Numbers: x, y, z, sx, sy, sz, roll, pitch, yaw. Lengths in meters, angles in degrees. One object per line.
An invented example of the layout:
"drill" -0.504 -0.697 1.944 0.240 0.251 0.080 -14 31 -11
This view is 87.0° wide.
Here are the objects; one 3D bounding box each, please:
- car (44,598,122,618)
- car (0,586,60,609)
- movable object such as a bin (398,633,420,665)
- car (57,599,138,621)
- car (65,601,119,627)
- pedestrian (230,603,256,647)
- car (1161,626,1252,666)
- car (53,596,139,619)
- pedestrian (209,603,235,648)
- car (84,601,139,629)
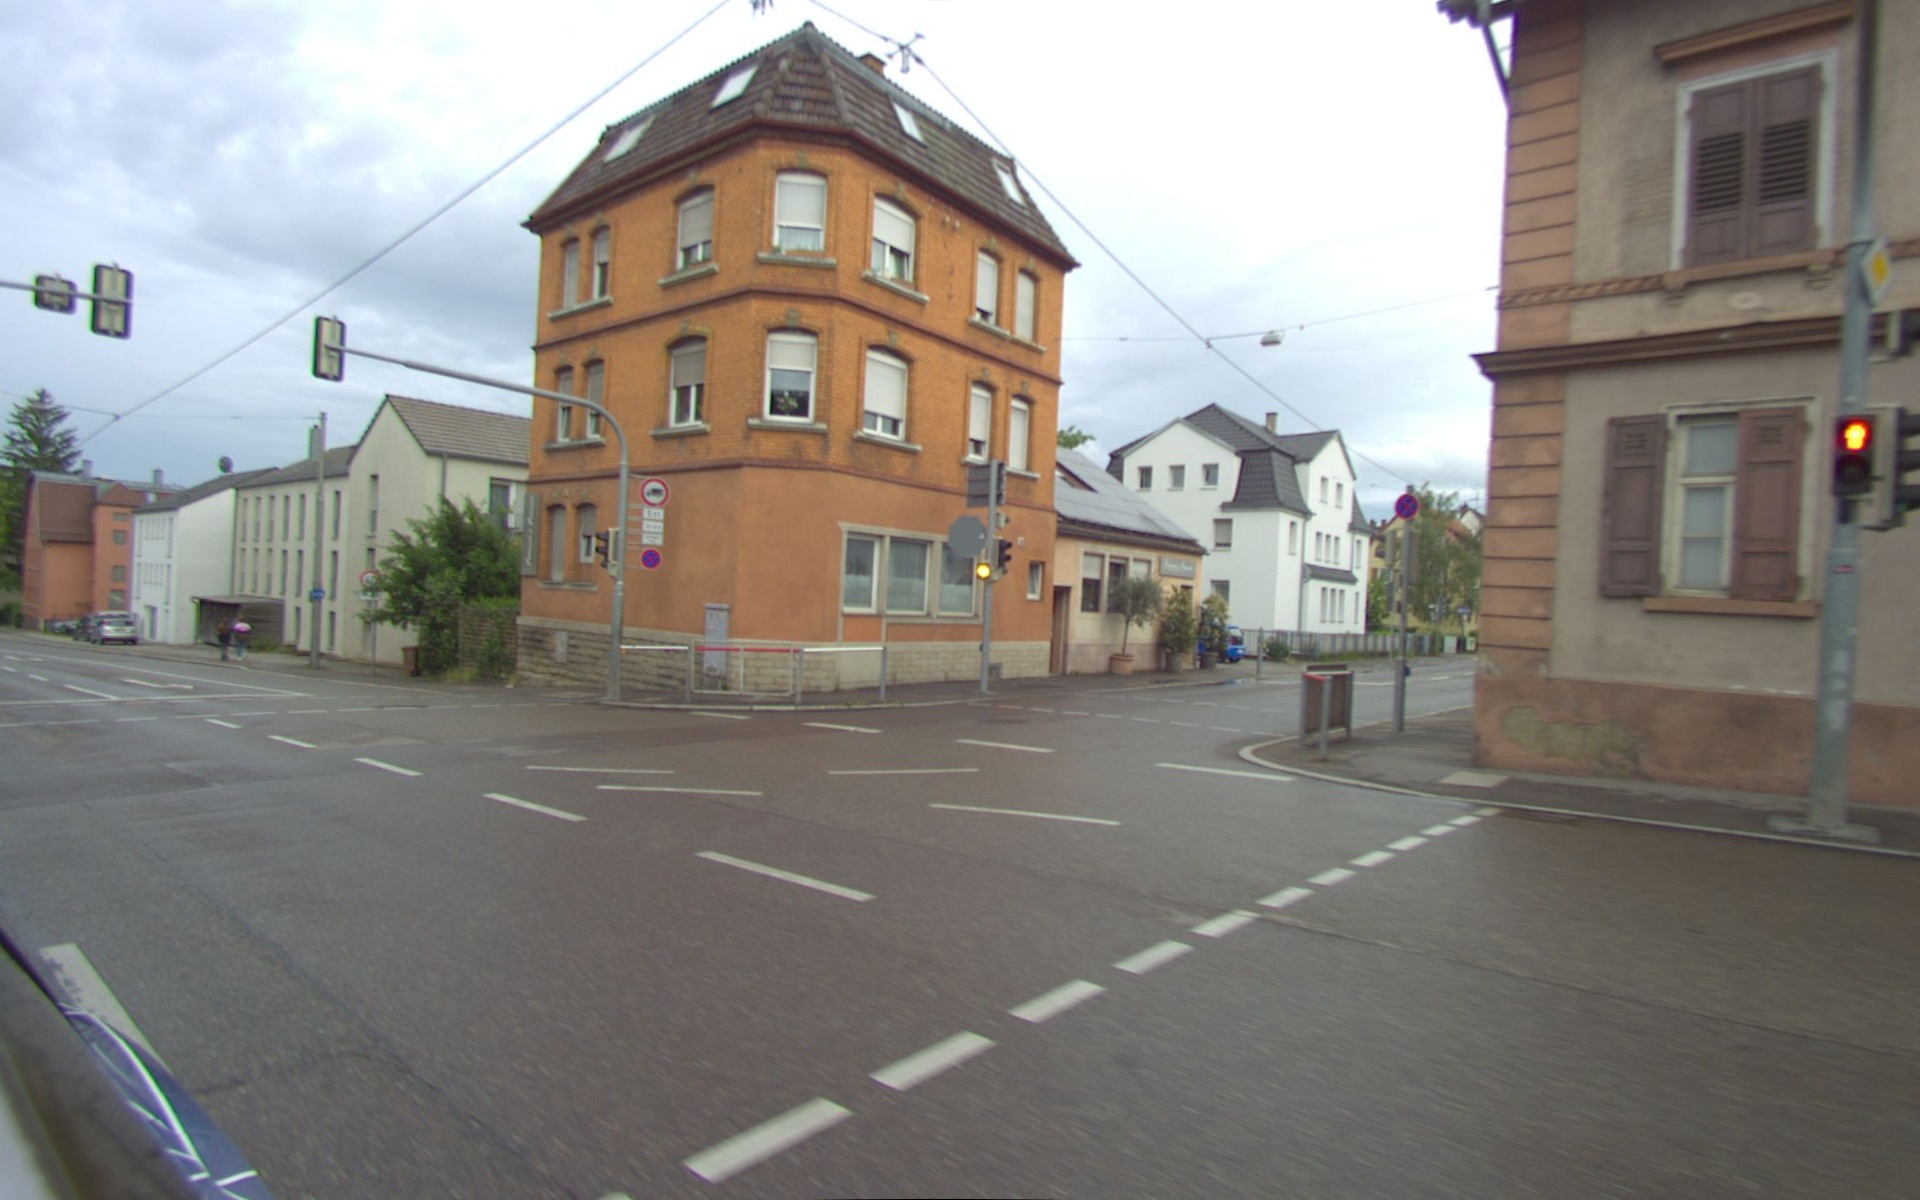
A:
"car" -64.033 0.573 73.931 2.000 1.444 4.116 0 0 43
"car" -84.301 -0.243 91.807 3.938 2.029 2.003 1 0 -42
"movable object such as a bin" -16.746 1.480 30.764 0.525 0.932 0.405 0 -1 35
"car" -60.011 0.701 70.468 1.895 1.475 4.081 0 0 42
"car" -53.573 0.825 62.456 4.077 1.564 1.729 0 0 37
"pedestrian" -28.299 0.976 39.921 0.911 1.719 0.633 0 -1 42
"car" 9.376 1.711 38.502 2.978 1.395 1.584 0 0 40
"car" -61.913 0.506 72.560 2.153 1.620 4.482 0 0 43
"pedestrian" -28.740 0.988 39.417 0.911 1.719 0.633 0 -1 42
"car" -48.285 0.834 57.578 4.176 1.519 1.727 0 -2 41
